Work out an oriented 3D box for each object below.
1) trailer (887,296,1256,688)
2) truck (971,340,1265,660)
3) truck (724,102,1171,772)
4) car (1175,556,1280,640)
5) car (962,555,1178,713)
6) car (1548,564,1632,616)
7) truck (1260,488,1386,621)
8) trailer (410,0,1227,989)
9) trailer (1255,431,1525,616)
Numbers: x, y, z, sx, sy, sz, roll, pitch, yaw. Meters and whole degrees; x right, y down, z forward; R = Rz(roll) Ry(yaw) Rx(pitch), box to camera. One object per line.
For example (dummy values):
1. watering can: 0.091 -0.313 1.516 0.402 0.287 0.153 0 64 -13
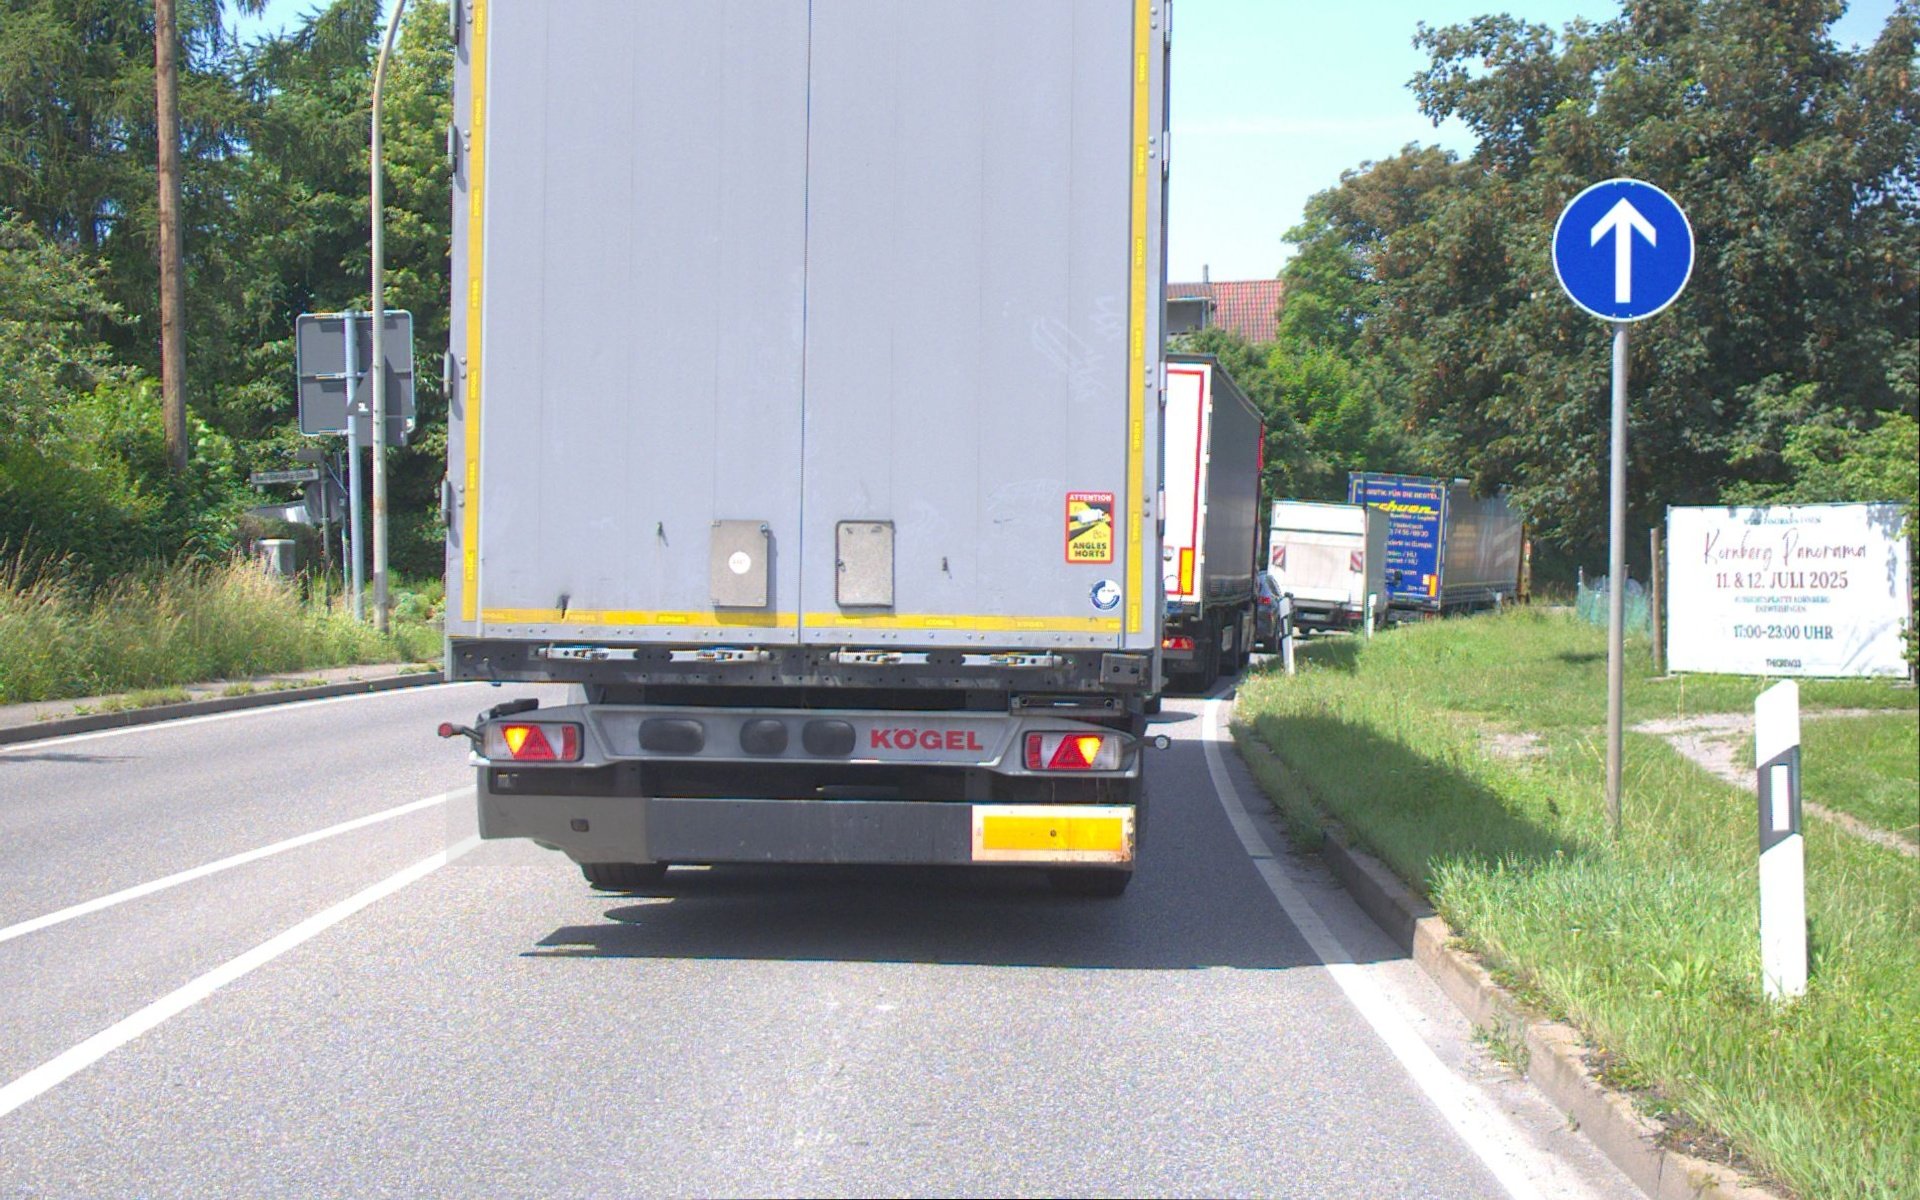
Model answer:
1. trailer: 1.818 -1.348 46.112 3.892 4.505 12.710 0 1 7
2. truck: 2.570 -1.496 52.771 3.938 4.559 7.150 0 1 7
3. truck: 0.068 -1.098 24.565 2.746 4.151 6.142 1 1 3
4. car: 5.078 -0.063 64.882 1.841 1.481 3.999 1 1 6
5. car: 1.225 0.313 36.513 1.994 1.525 3.999 1 1 6
6. car: 21.565 -0.349 117.580 1.996 1.678 3.995 1 1 23
7. truck: 8.165 -1.050 76.891 2.421 2.828 5.410 1 1 10
8. trailer: -0.233 -0.926 17.894 2.787 4.191 12.111 1 1 2
9. trailer: 12.091 -2.126 94.488 5.183 4.612 15.885 1 1 15
